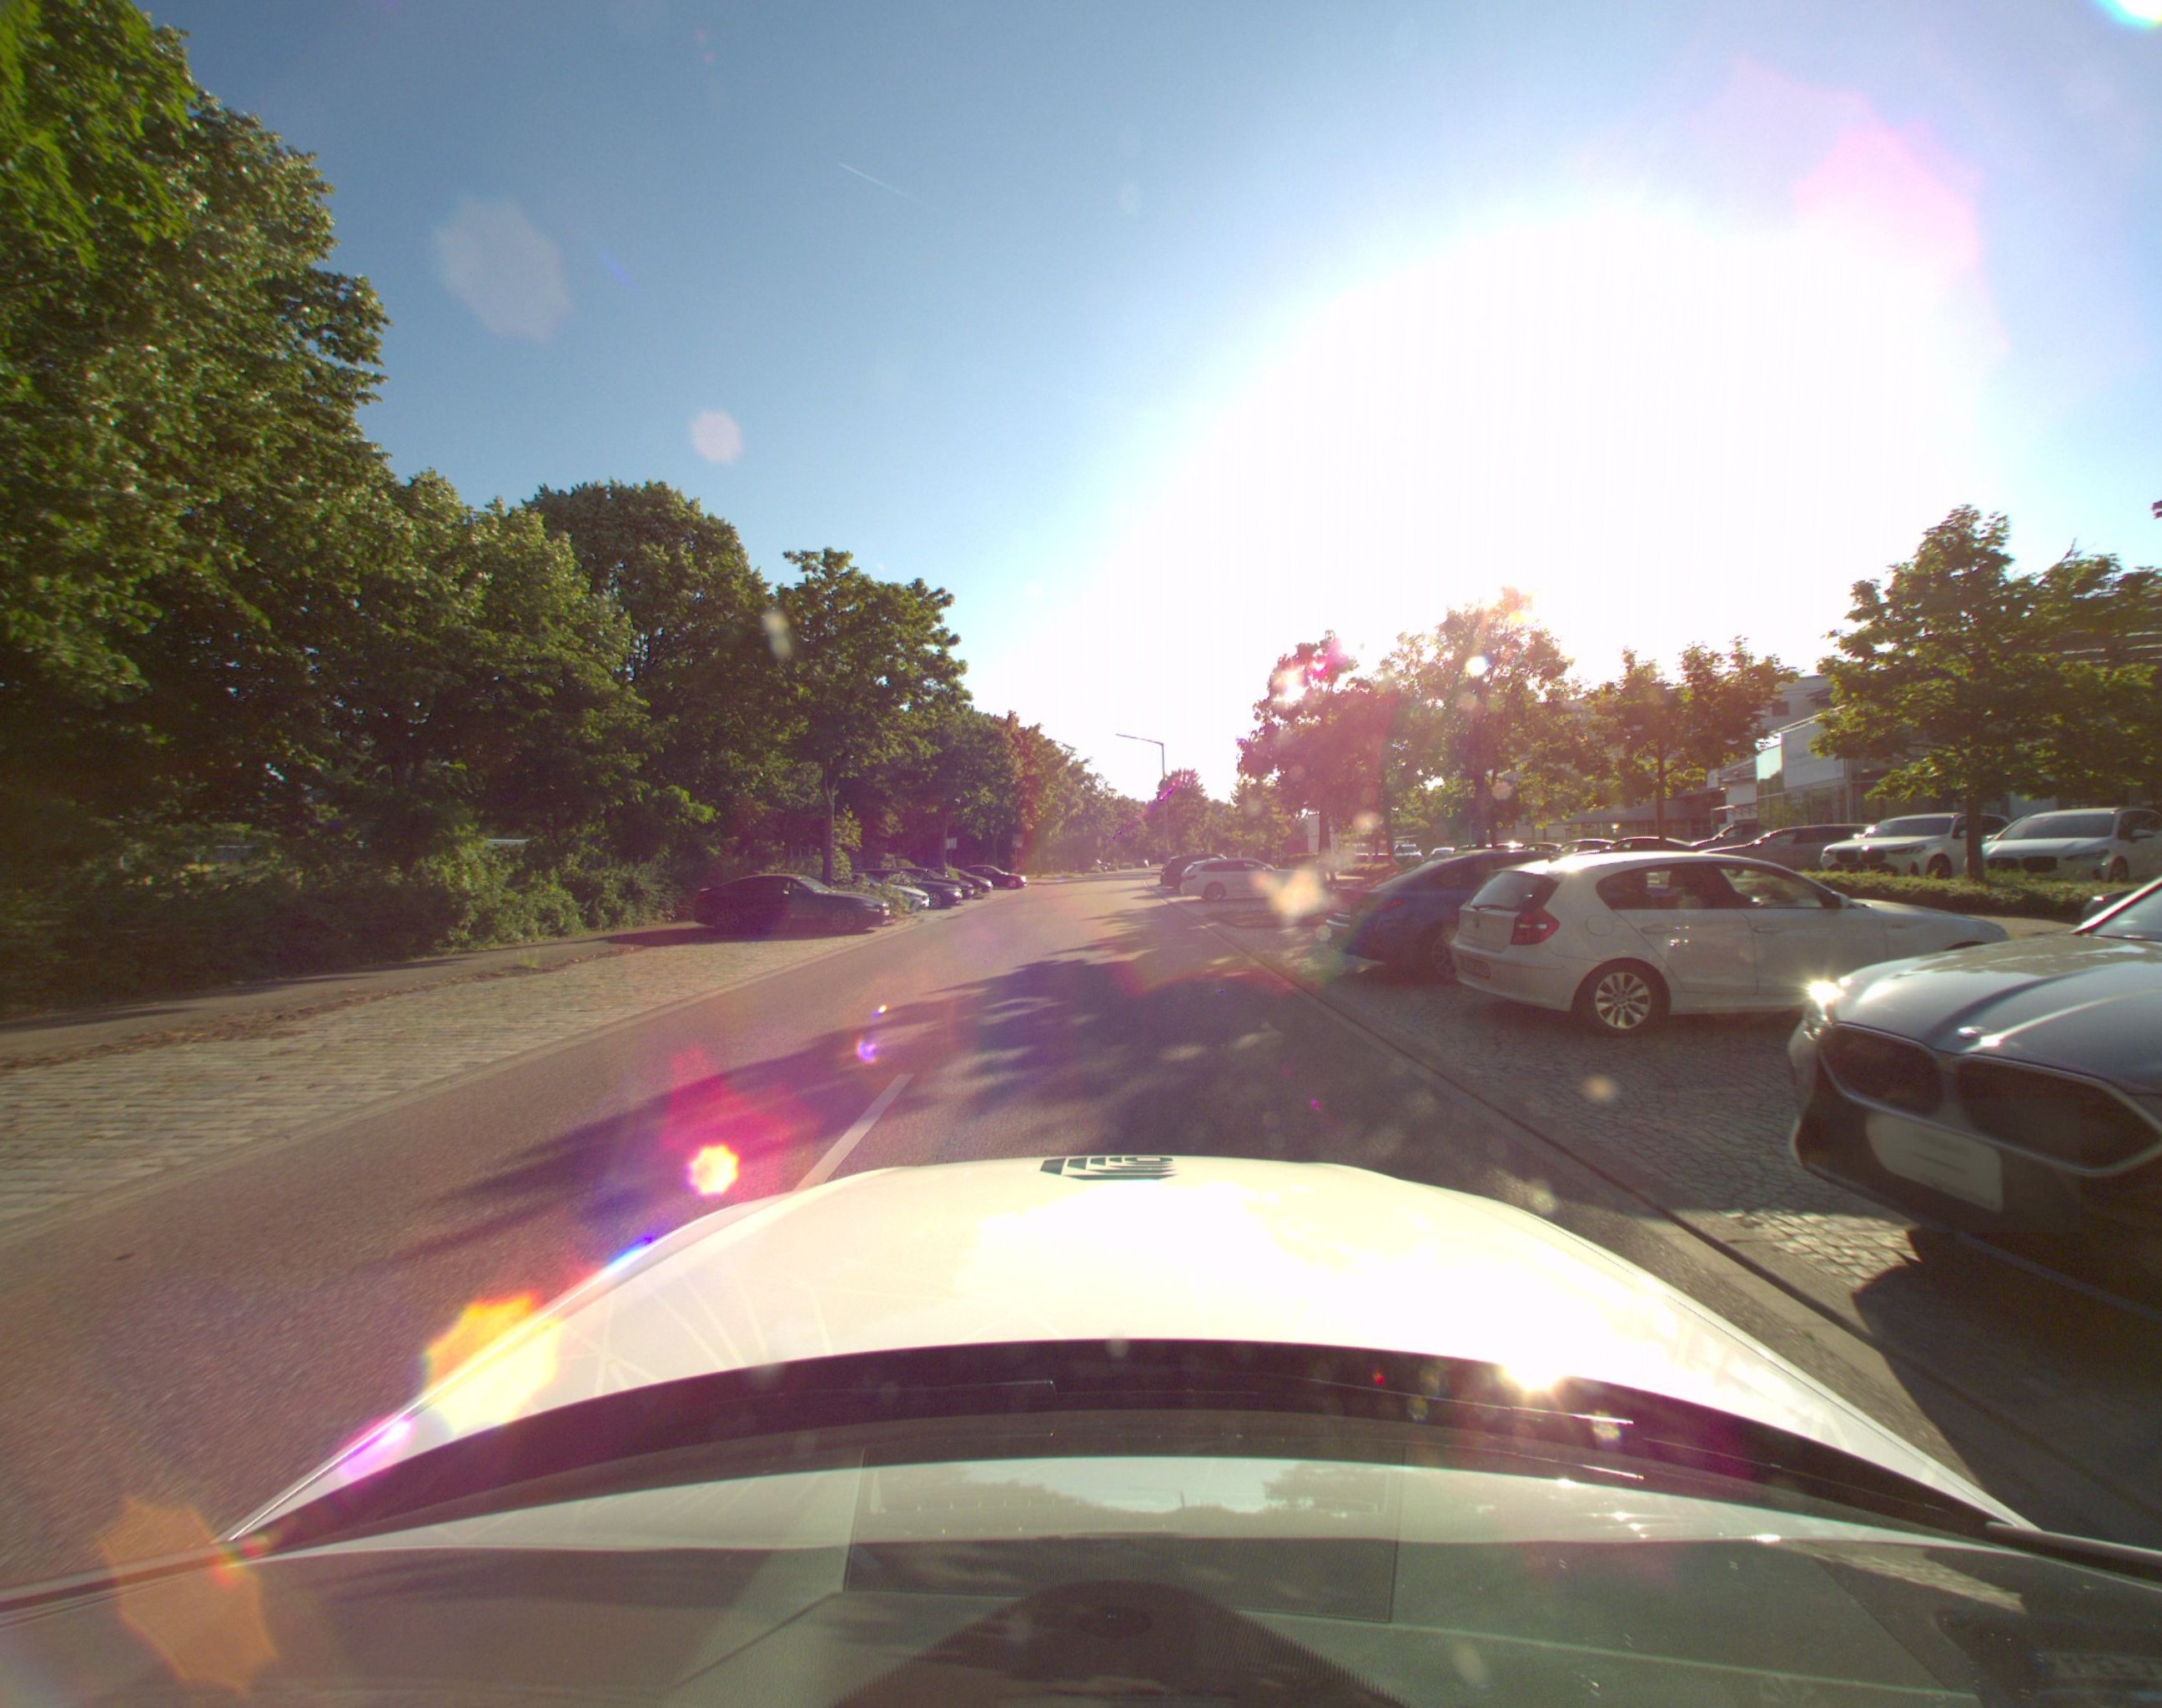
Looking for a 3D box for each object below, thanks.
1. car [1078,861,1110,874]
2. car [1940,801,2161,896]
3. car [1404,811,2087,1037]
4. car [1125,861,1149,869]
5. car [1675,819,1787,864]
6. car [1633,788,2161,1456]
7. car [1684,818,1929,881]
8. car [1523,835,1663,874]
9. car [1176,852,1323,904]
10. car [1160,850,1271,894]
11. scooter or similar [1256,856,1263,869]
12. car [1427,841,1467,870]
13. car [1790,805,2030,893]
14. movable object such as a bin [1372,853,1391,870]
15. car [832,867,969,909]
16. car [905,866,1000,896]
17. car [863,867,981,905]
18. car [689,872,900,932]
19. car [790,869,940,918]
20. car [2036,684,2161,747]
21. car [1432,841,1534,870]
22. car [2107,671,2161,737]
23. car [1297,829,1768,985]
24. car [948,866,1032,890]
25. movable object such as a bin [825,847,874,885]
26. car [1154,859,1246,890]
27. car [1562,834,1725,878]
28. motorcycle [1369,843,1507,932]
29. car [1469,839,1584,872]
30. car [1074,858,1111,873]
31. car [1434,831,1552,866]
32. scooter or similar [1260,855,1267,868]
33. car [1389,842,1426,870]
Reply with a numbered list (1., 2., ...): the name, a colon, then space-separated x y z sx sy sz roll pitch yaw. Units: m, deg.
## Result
1. car: 1.832 1.865 112.238 4.188 1.530 1.709 -2 -1 8
2. car: 19.009 -0.137 15.590 4.609 1.574 1.985 -2 -1 -23
3. car: 5.474 0.546 7.244 4.360 1.479 2.000 -3 -1 1
4. car: 10.492 2.089 152.490 4.328 1.479 2.007 0 0 13
5. car: 32.183 -0.587 40.387 4.129 2.013 2.012 -2 -1 43
6. car: 4.815 0.511 2.686 4.575 1.584 2.000 -3 -1 0
7. car: 20.998 -0.078 23.790 2.011 1.571 5.128 -2 -1 -43
8. car: 21.804 0.051 34.826 4.729 1.464 2.012 -3 -1 43
9. car: 5.800 0.806 28.461 4.678 1.479 2.000 -3 -1 1
10. car: 5.926 0.774 36.229 4.671 1.751 2.195 -2 -1 6
11. scooter or similar: 17.831 0.840 81.495 0.517 1.272 1.390 -2 -1 7
12. car: 25.548 0.100 57.041 2.015 1.828 4.581 -2 -1 18
13. car: 18.987 -0.120 18.663 4.738 1.690 2.391 -3 -1 -25
14. movable object such as a bin: 22.972 0.594 62.300 1.111 1.268 1.040 -2 -1 9
15. car: -6.869 1.285 31.369 4.836 1.531 1.999 0 -1 -2
16. car: -6.523 1.366 41.605 4.462 1.462 2.001 0 -1 1
17. car: -6.550 1.301 33.921 4.462 1.531 2.001 0 -1 1
18. car: -7.118 1.171 20.632 4.634 1.422 1.916 0 -1 -1
19. car: -6.937 1.249 26.476 4.269 1.531 2.001 0 -1 2
20. car: 33.369 -4.347 25.657 3.958 1.666 1.794 0 0 14
21. car: 22.580 0.106 45.846 4.729 1.464 2.012 -3 -1 43
22. car: 32.689 -4.335 23.241 3.958 1.666 1.794 0 0 14
23. car: 5.232 0.595 9.976 4.608 1.456 2.000 -3 -1 1
24. car: -5.722 1.497 51.468 5.016 1.462 2.001 0 -1 1
25. movable object such as a bin: -17.576 0.924 61.622 2.173 2.664 4.754 -1 -1 -33
26. car: 6.074 1.055 42.038 4.464 1.404 2.034 -2 -1 1
27. car: 21.294 0.092 30.992 2.011 1.464 4.731 -2 -1 -43
28. motorcycle: 6.477 0.583 14.825 2.126 1.466 0.945 -2 -1 -14
29. car: 22.788 0.110 41.762 4.729 1.464 2.059 -3 -1 43
30. car: 1.617 1.666 116.195 4.975 2.020 2.180 -2 -1 9
31. car: 20.058 -0.238 39.787 4.729 1.464 2.012 -3 -1 43
32. scooter or similar: 17.889 0.767 80.024 0.517 1.272 1.203 -2 -1 7
33. car: 23.112 0.108 57.831 2.015 1.828 4.999 -2 -1 18
